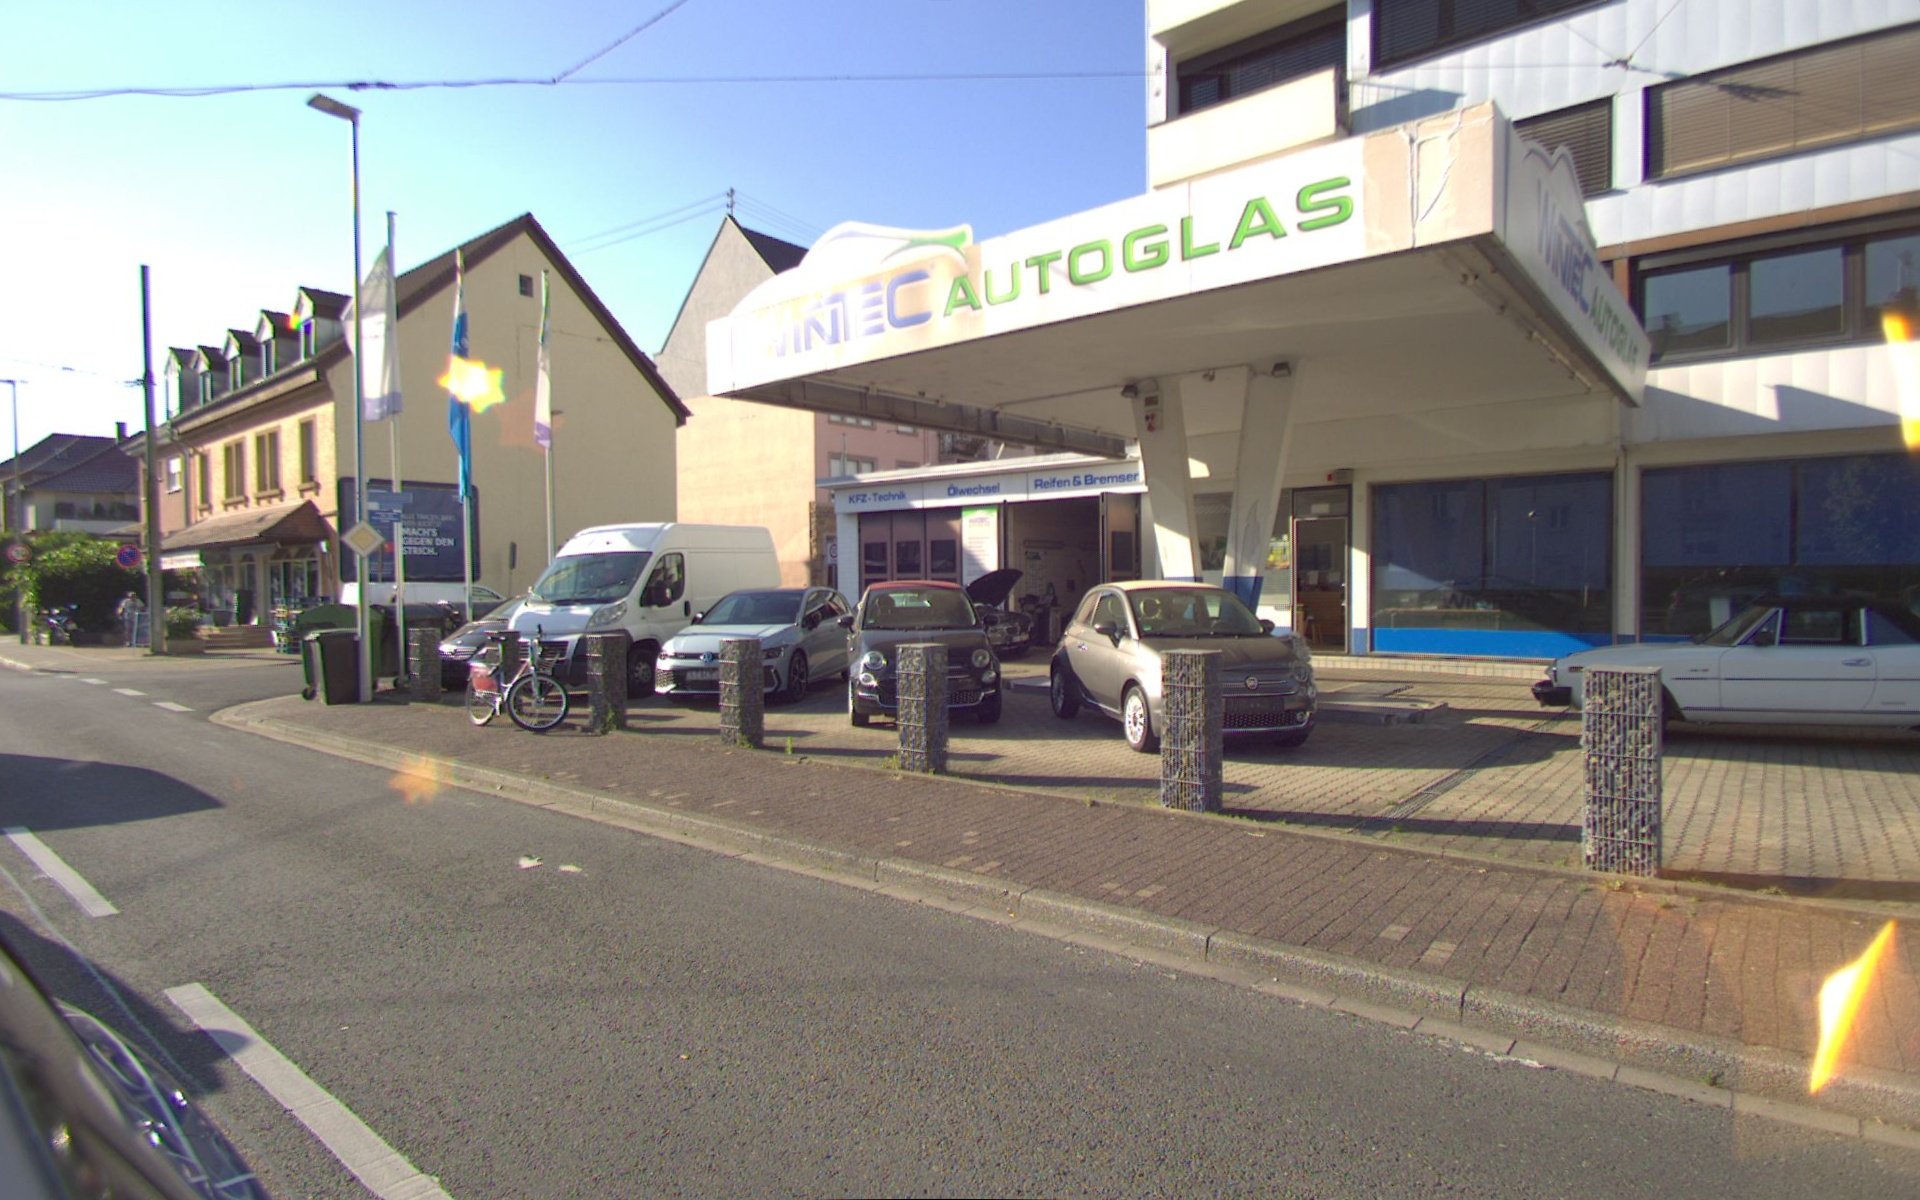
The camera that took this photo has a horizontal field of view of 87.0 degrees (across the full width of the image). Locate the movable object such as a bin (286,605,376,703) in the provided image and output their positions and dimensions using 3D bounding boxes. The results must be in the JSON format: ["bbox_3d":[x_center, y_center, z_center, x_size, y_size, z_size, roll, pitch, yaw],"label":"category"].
[{"bbox_3d":[-9.814,0.816,15.825,1.030,1.475,0.798,0,0,-18],"label":"movable object such as a bin"}]

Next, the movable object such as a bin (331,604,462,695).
[{"bbox_3d":[-9.683,0.809,17.480,1.039,1.475,1.787,0,0,15],"label":"movable object such as a bin"}]

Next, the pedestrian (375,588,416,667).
[{"bbox_3d":[-13.650,0.650,24.469,0.755,1.866,0.825,0,0,-38],"label":"pedestrian"}]

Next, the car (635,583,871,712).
[{"bbox_3d":[-2.639,0.536,13.909,1.725,1.508,4.016,-1,1,12],"label":"car"}]

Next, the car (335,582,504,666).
[{"bbox_3d":[-13.991,0.578,26.366,1.450,2.029,3.627,0,0,37],"label":"car"}]

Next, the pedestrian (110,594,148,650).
[{"bbox_3d":[-26.028,0.669,31.688,0.859,1.726,0.799,0,0,42],"label":"pedestrian"}]

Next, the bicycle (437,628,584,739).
[{"bbox_3d":[-5.007,0.884,11.229,1.789,1.094,0.716,-1,1,38],"label":"bicycle"}]

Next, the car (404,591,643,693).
[{"bbox_3d":[-7.168,0.614,17.117,1.725,1.488,4.016,-1,1,12],"label":"car"}]

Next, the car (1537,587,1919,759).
[{"bbox_3d":[7.273,0.567,8.666,3.898,1.308,1.506,-1,-1,37],"label":"car"}]

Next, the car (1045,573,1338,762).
[{"bbox_3d":[2.042,0.524,9.894,1.517,1.497,3.381,-1,1,-11],"label":"car"}]

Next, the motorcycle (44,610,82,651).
[{"bbox_3d":[-28.063,0.942,31.657,2.186,1.226,0.699,0,0,43],"label":"motorcycle"}]

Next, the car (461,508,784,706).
[{"bbox_3d":[-4.792,0.062,15.328,2.098,2.472,4.962,-1,1,18],"label":"car"}]

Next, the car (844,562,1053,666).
[{"bbox_3d":[-0.307,0.258,21.021,4.255,1.958,1.720,0,1,40],"label":"car"}]

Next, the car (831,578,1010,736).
[{"bbox_3d":[-0.593,0.532,11.611,1.569,1.508,3.443,-1,1,-10],"label":"car"}]
